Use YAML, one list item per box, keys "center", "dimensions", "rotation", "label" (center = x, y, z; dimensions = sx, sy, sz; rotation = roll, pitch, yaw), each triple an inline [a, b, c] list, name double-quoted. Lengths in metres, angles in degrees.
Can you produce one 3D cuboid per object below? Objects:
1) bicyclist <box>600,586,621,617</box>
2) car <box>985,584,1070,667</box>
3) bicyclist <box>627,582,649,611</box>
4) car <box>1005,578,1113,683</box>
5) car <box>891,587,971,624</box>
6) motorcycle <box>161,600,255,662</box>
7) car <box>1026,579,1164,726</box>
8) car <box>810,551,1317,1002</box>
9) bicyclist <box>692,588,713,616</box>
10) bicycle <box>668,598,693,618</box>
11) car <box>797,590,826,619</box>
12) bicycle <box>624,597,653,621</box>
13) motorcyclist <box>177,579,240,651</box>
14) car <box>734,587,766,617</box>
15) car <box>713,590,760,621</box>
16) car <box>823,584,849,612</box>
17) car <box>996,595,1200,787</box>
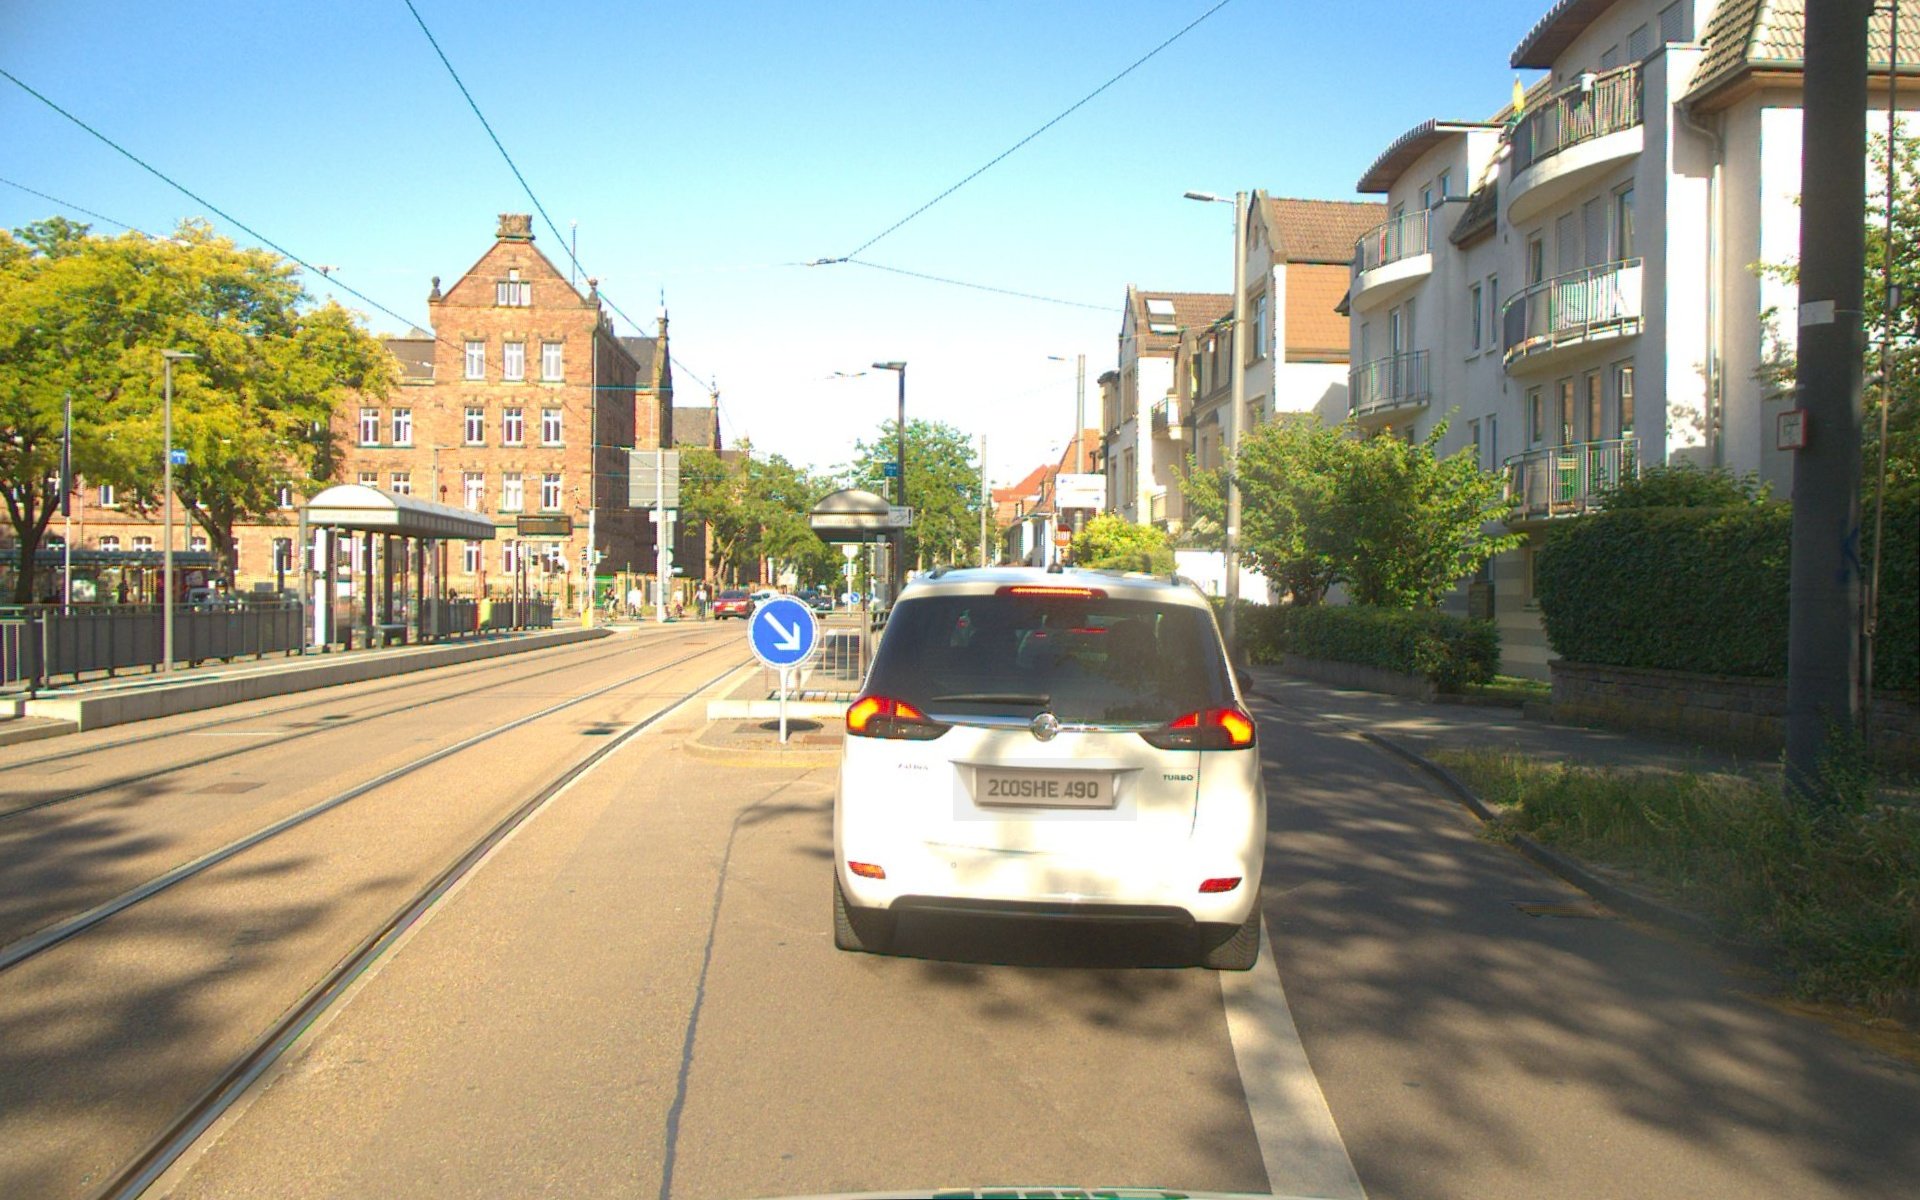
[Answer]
- center: [-16.844, 0.064, 79.694]
  dimensions: [0.639, 1.485, 1.153]
  rotation: [0, 0, 8]
  label: "bicyclist"
- center: [1.428, 0.517, 36.209]
  dimensions: [1.563, 1.663, 3.900]
  rotation: [2, 0, -1]
  label: "car"
- center: [-16.717, -0.189, 85.799]
  dimensions: [0.740, 1.496, 1.191]
  rotation: [0, 0, 10]
  label: "bicyclist"
- center: [1.687, 0.492, 29.178]
  dimensions: [1.563, 1.663, 3.900]
  rotation: [2, 0, -1]
  label: "car"
- center: [-1.521, 0.276, 86.540]
  dimensions: [3.907, 1.839, 1.523]
  rotation: [0, 0, 25]
  label: "car"
- center: [-14.889, 0.592, 32.833]
  dimensions: [0.893, 1.173, 2.427]
  rotation: [0, 0, -4]
  label: "motorcycle"
- center: [1.716, 0.591, 21.042]
  dimensions: [1.536, 1.643, 3.786]
  rotation: [2, 0, 5]
  label: "car"
- center: [0.534, 0.634, 8.084]
  dimensions: [1.838, 1.613, 4.002]
  rotation: [1, 0, 5]
  label: "car"
- center: [-14.661, 0.141, 94.029]
  dimensions: [0.744, 1.563, 1.349]
  rotation: [1, 0, 10]
  label: "bicyclist"
- center: [-15.886, 0.437, 94.042]
  dimensions: [0.655, 1.091, 2.016]
  rotation: [1, 1, 14]
  label: "bicycle"
- center: [-8.580, 0.253, 95.437]
  dimensions: [1.634, 1.658, 3.995]
  rotation: [0, 0, -6]
  label: "car"
- center: [-16.702, 0.482, 85.904]
  dimensions: [0.798, 1.219, 1.954]
  rotation: [0, 0, 10]
  label: "bicycle"
- center: [-14.887, 0.300, 32.797]
  dimensions: [0.871, 1.407, 0.907]
  rotation: [0, 0, -5]
  label: "motorcyclist"
- center: [-13.624, 0.118, 107.401]
  dimensions: [1.664, 1.841, 3.999]
  rotation: [0, 0, -1]
  label: "car"
- center: [-12.236, 0.268, 90.740]
  dimensions: [1.780, 1.635, 4.360]
  rotation: [0, 0, 2]
  label: "car"
- center: [-9.311, -0.126, 124.058]
  dimensions: [1.954, 2.049, 3.996]
  rotation: [0, 0, -4]
  label: "car"
- center: [1.229, 0.702, 14.783]
  dimensions: [1.536, 1.426, 3.786]
  rotation: [2, 0, 5]
  label: "car"
